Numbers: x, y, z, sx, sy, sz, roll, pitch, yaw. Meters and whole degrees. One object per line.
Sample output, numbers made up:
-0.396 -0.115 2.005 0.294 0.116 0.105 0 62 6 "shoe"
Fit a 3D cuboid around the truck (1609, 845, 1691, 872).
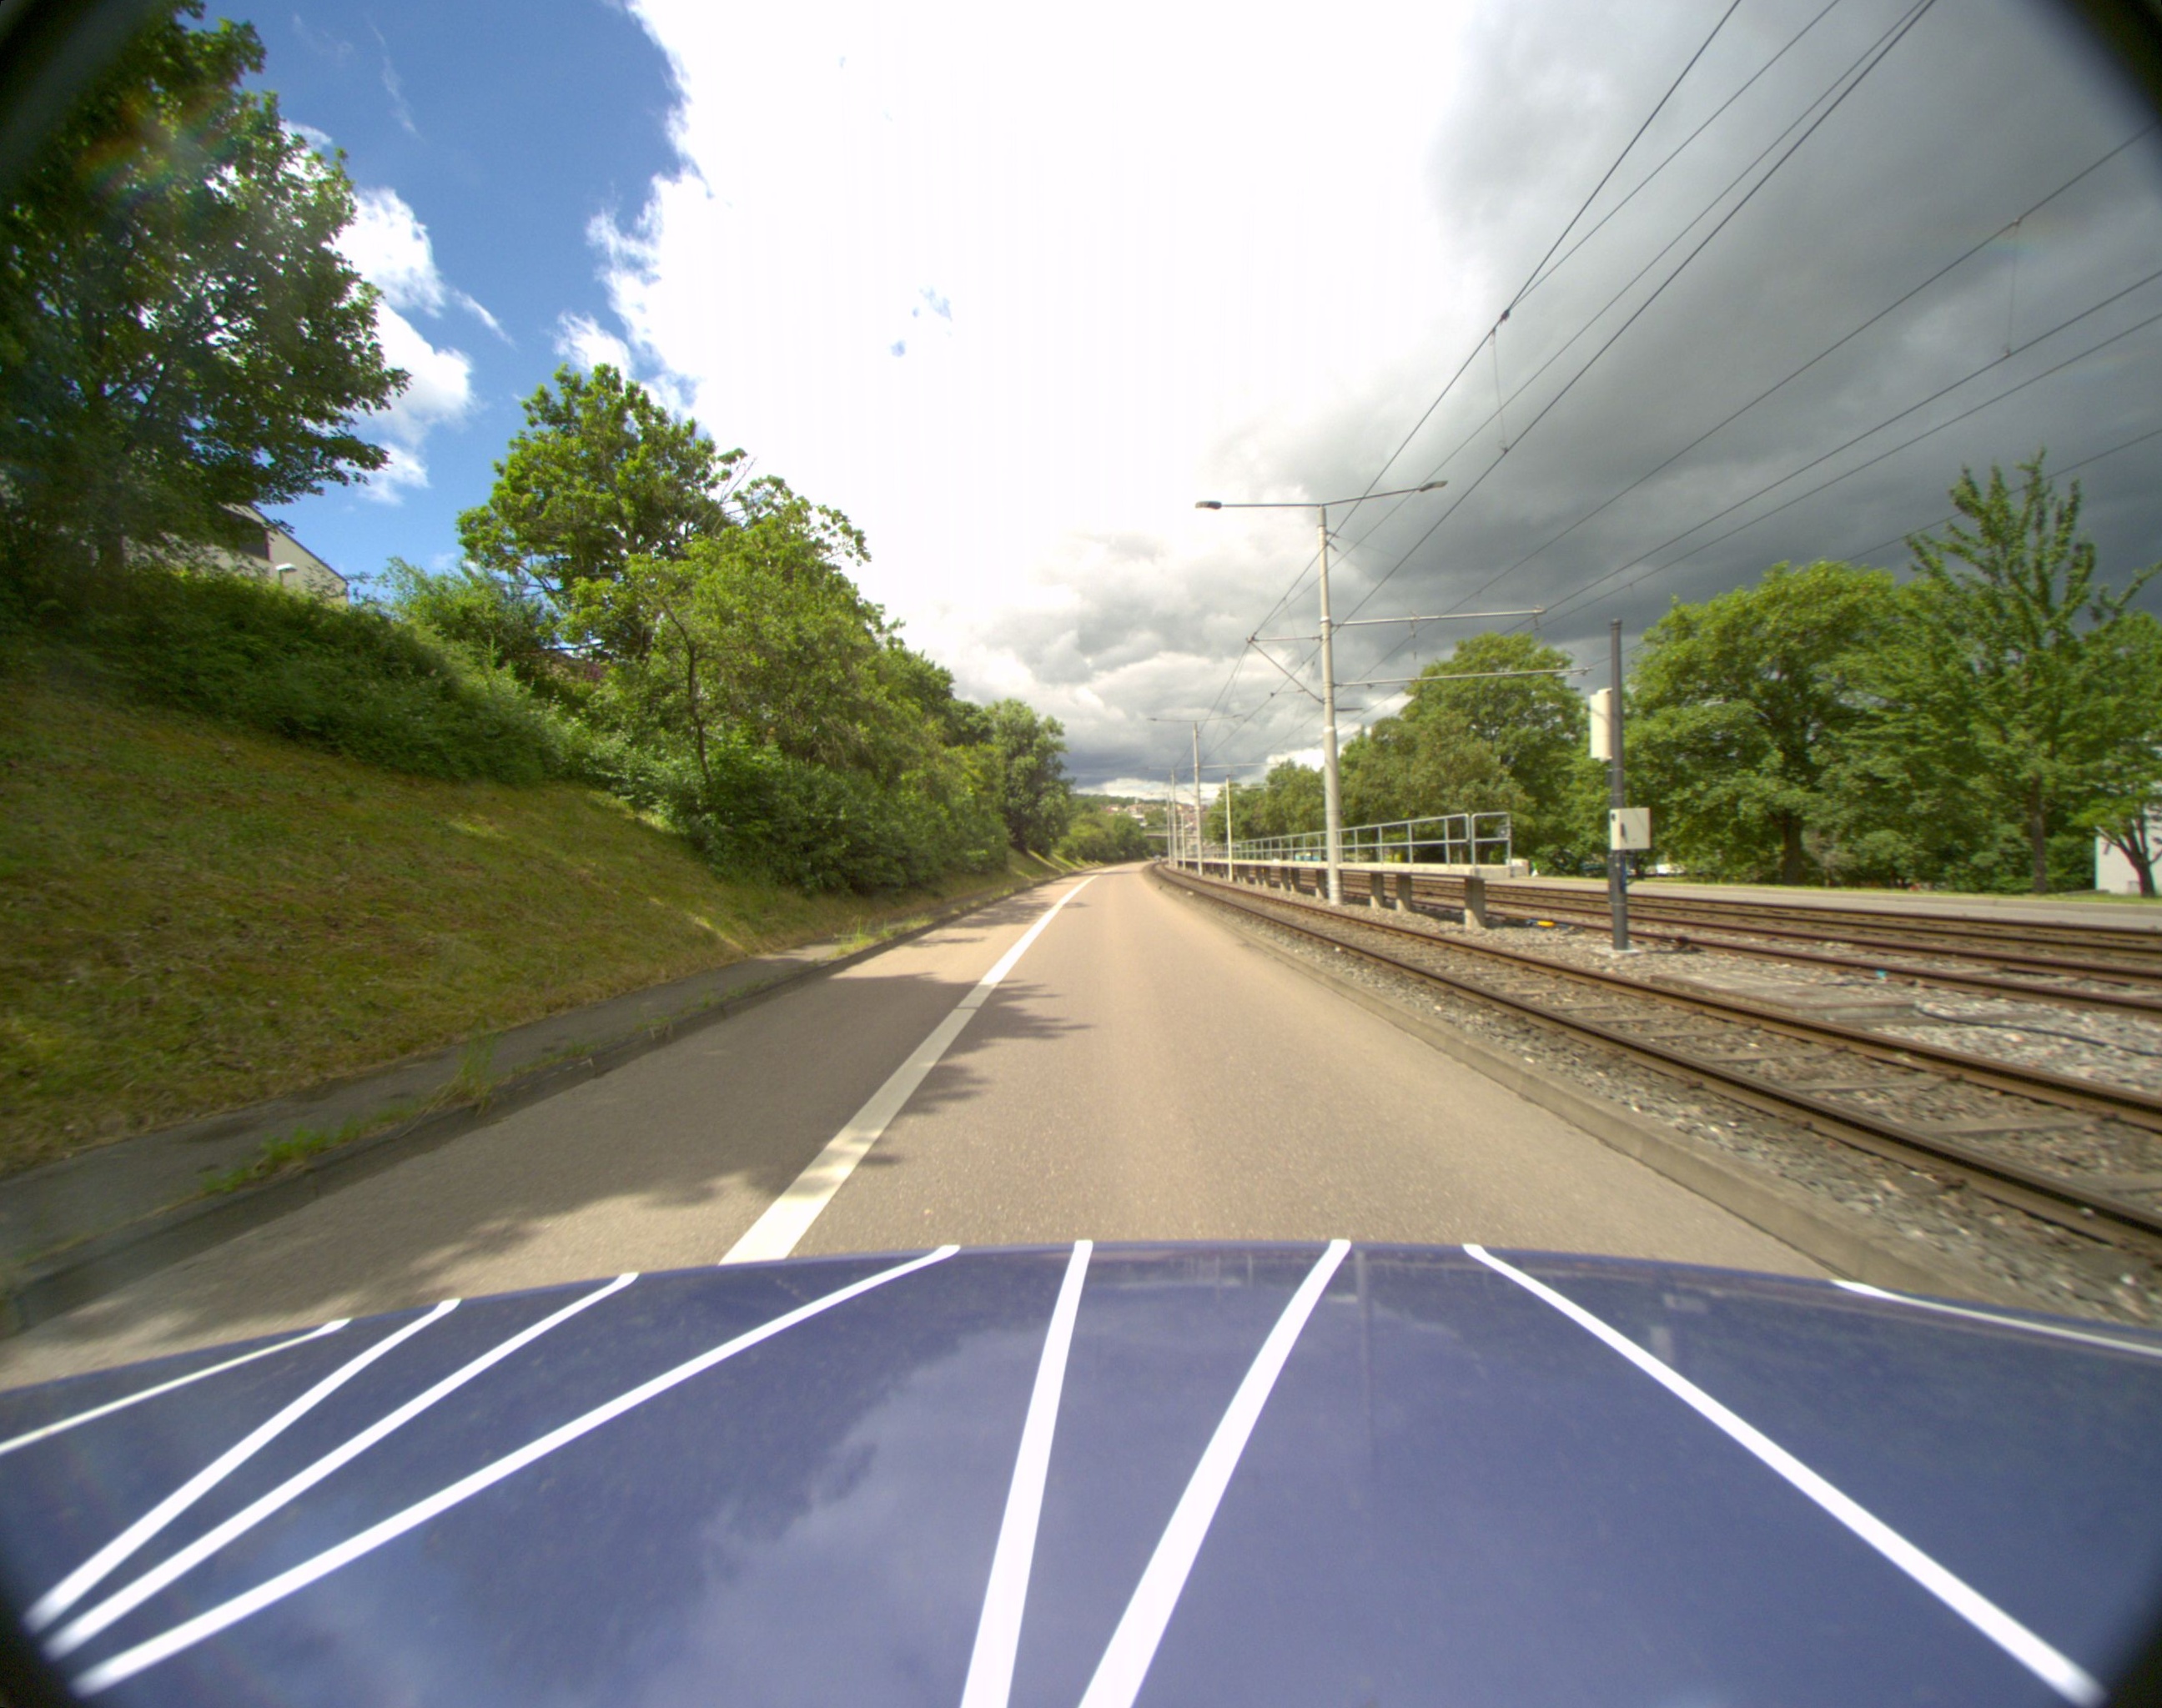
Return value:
61.438 0.482 82.124 6.615 2.839 2.681 0 0 7 "truck"
